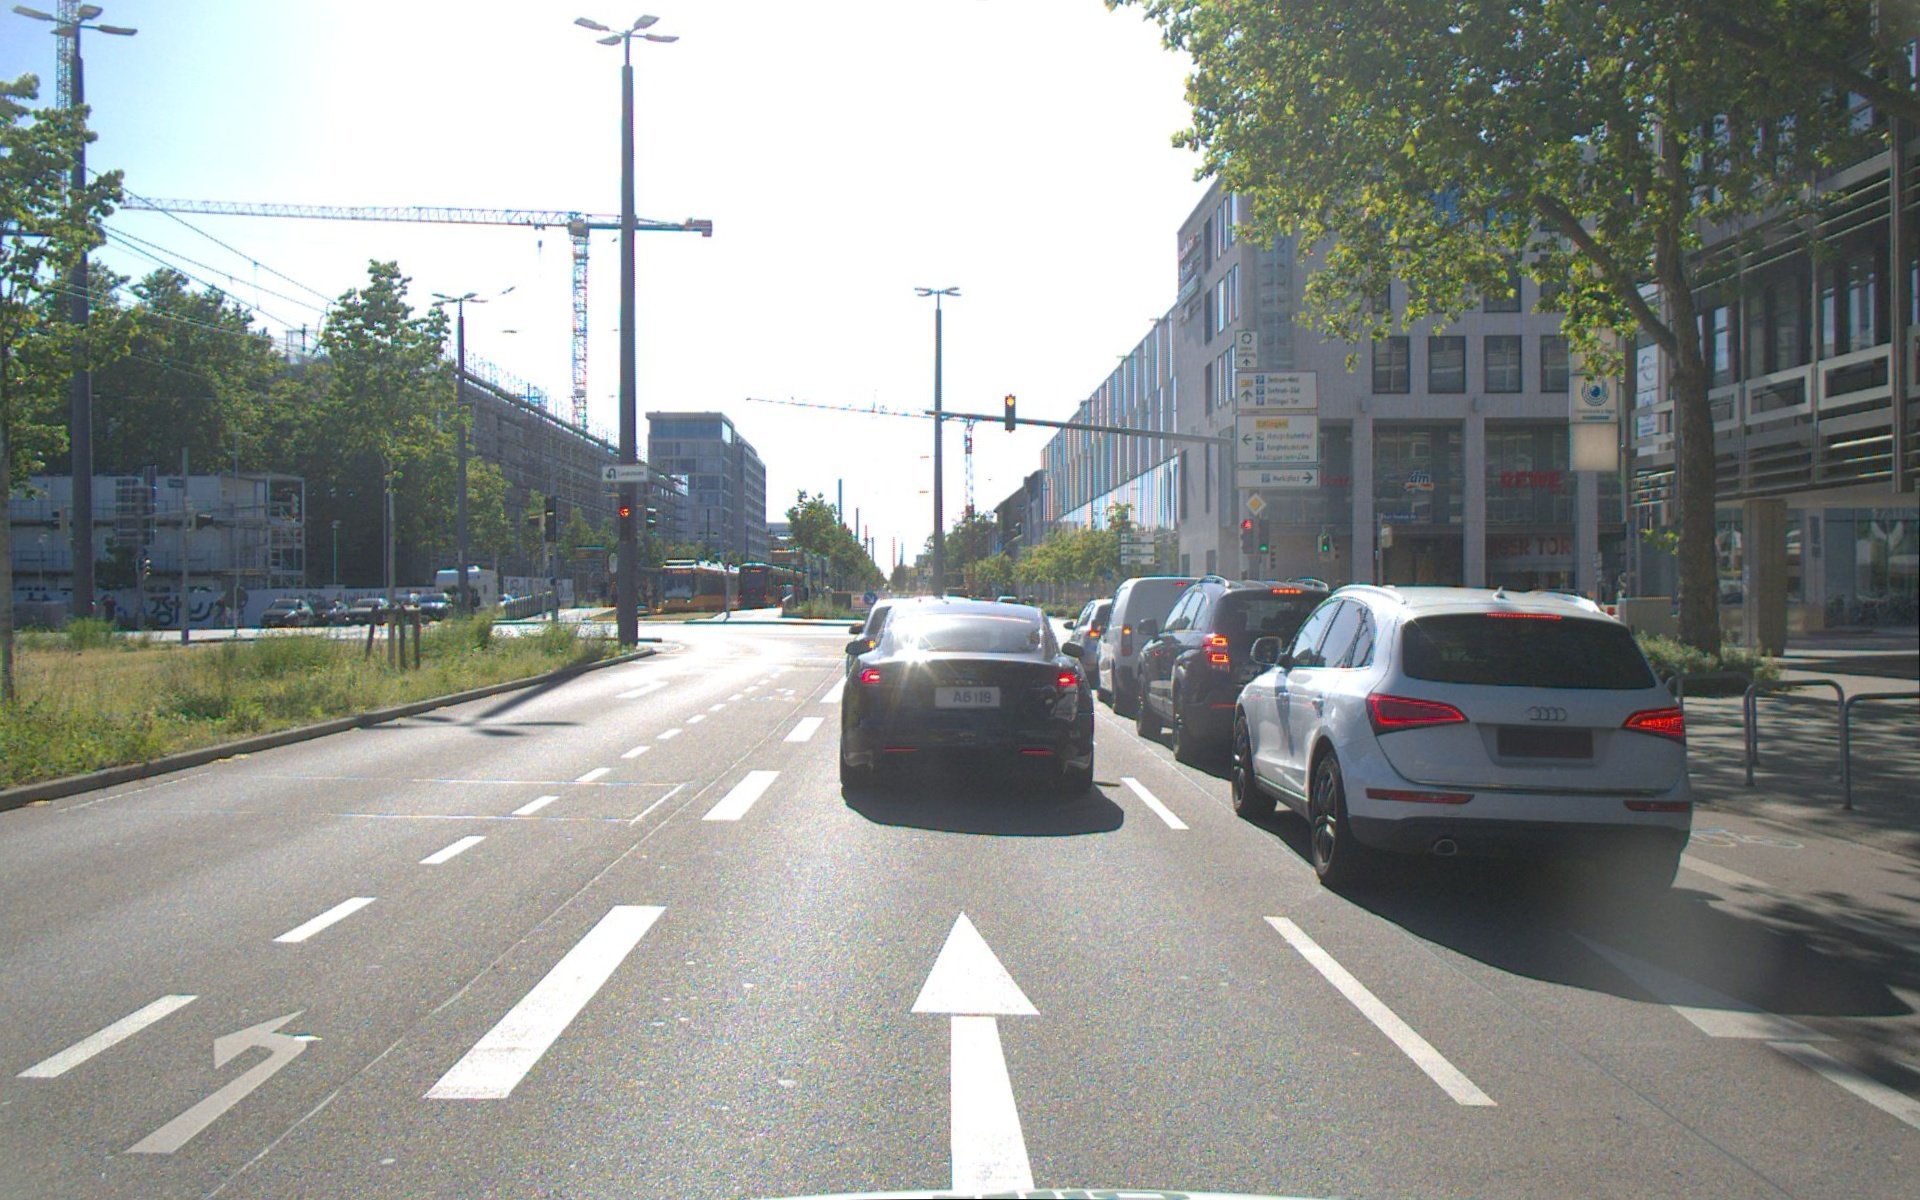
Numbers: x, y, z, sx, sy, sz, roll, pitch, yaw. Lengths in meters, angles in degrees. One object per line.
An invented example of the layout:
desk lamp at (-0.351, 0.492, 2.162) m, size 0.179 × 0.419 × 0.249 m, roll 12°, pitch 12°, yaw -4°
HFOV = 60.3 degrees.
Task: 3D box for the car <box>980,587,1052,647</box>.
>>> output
car at (1.407, 0.398, 42.717) m, size 1.686 × 1.456 × 4.186 m, roll 0°, pitch 0°, yaw -1°

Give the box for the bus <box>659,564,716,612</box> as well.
bus at (-17.072, -0.694, 104.218) m, size 2.576 × 2.832 × 8.837 m, roll 2°, pitch -1°, yaw -4°

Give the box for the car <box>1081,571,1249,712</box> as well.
car at (2.798, 0.521, 23.422) m, size 1.687 × 1.814 × 4.184 m, roll 0°, pitch 0°, yaw -3°

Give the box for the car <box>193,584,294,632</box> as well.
car at (-19.211, 0.221, 44.435) m, size 1.349 × 1.199 × 3.219 m, roll 2°, pitch -1°, yaw -2°

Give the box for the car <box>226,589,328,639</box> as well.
car at (-17.642, 0.375, 42.870) m, size 1.349 × 1.199 × 3.219 m, roll 2°, pitch -1°, yaw -2°

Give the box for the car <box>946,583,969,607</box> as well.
car at (-0.213, -0.472, 149.446) m, size 1.953 × 2.049 × 3.999 m, roll 2°, pitch -1°, yaw -1°

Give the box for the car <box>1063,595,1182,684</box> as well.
car at (2.862, 0.658, 29.866) m, size 1.686 × 1.456 × 4.186 m, roll 0°, pitch 0°, yaw -1°

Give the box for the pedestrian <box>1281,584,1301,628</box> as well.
pedestrian at (11.093, 0.207, 55.472) m, size 0.550 × 1.466 × 0.632 m, roll 2°, pitch -1°, yaw 6°

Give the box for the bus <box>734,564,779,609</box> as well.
bus at (-14.819, -0.894, 120.954) m, size 2.576 × 3.011 × 9.891 m, roll 2°, pitch -1°, yaw -4°

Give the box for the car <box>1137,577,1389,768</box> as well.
car at (2.906, 0.620, 16.714) m, size 1.687 × 1.682 × 4.185 m, roll 0°, pitch 0°, yaw -2°

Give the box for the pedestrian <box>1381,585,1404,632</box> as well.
pedestrian at (13.521, 0.266, 51.731) m, size 0.550 × 1.466 × 0.632 m, roll 2°, pitch -1°, yaw 6°

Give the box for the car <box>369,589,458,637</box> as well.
car at (-14.541, 0.353, 44.122) m, size 1.349 × 1.199 × 3.219 m, roll 2°, pitch -1°, yaw -2°

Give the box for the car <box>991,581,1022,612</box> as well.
car at (3.280, -0.218, 117.754) m, size 1.953 × 2.049 × 3.999 m, roll 2°, pitch -1°, yaw -1°

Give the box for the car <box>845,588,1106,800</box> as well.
car at (0.048, 0.656, 13.846) m, size 1.873 × 1.512 × 4.008 m, roll 0°, pitch 0°, yaw -2°

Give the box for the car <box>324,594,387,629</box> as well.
car at (-30.647, 0.594, 83.944) m, size 1.800 × 1.641 × 3.894 m, roll 2°, pitch -1°, yaw -2°

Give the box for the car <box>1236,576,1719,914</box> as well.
car at (2.870, 0.690, 10.150) m, size 1.686 × 1.646 × 4.186 m, roll 0°, pitch 0°, yaw 0°
